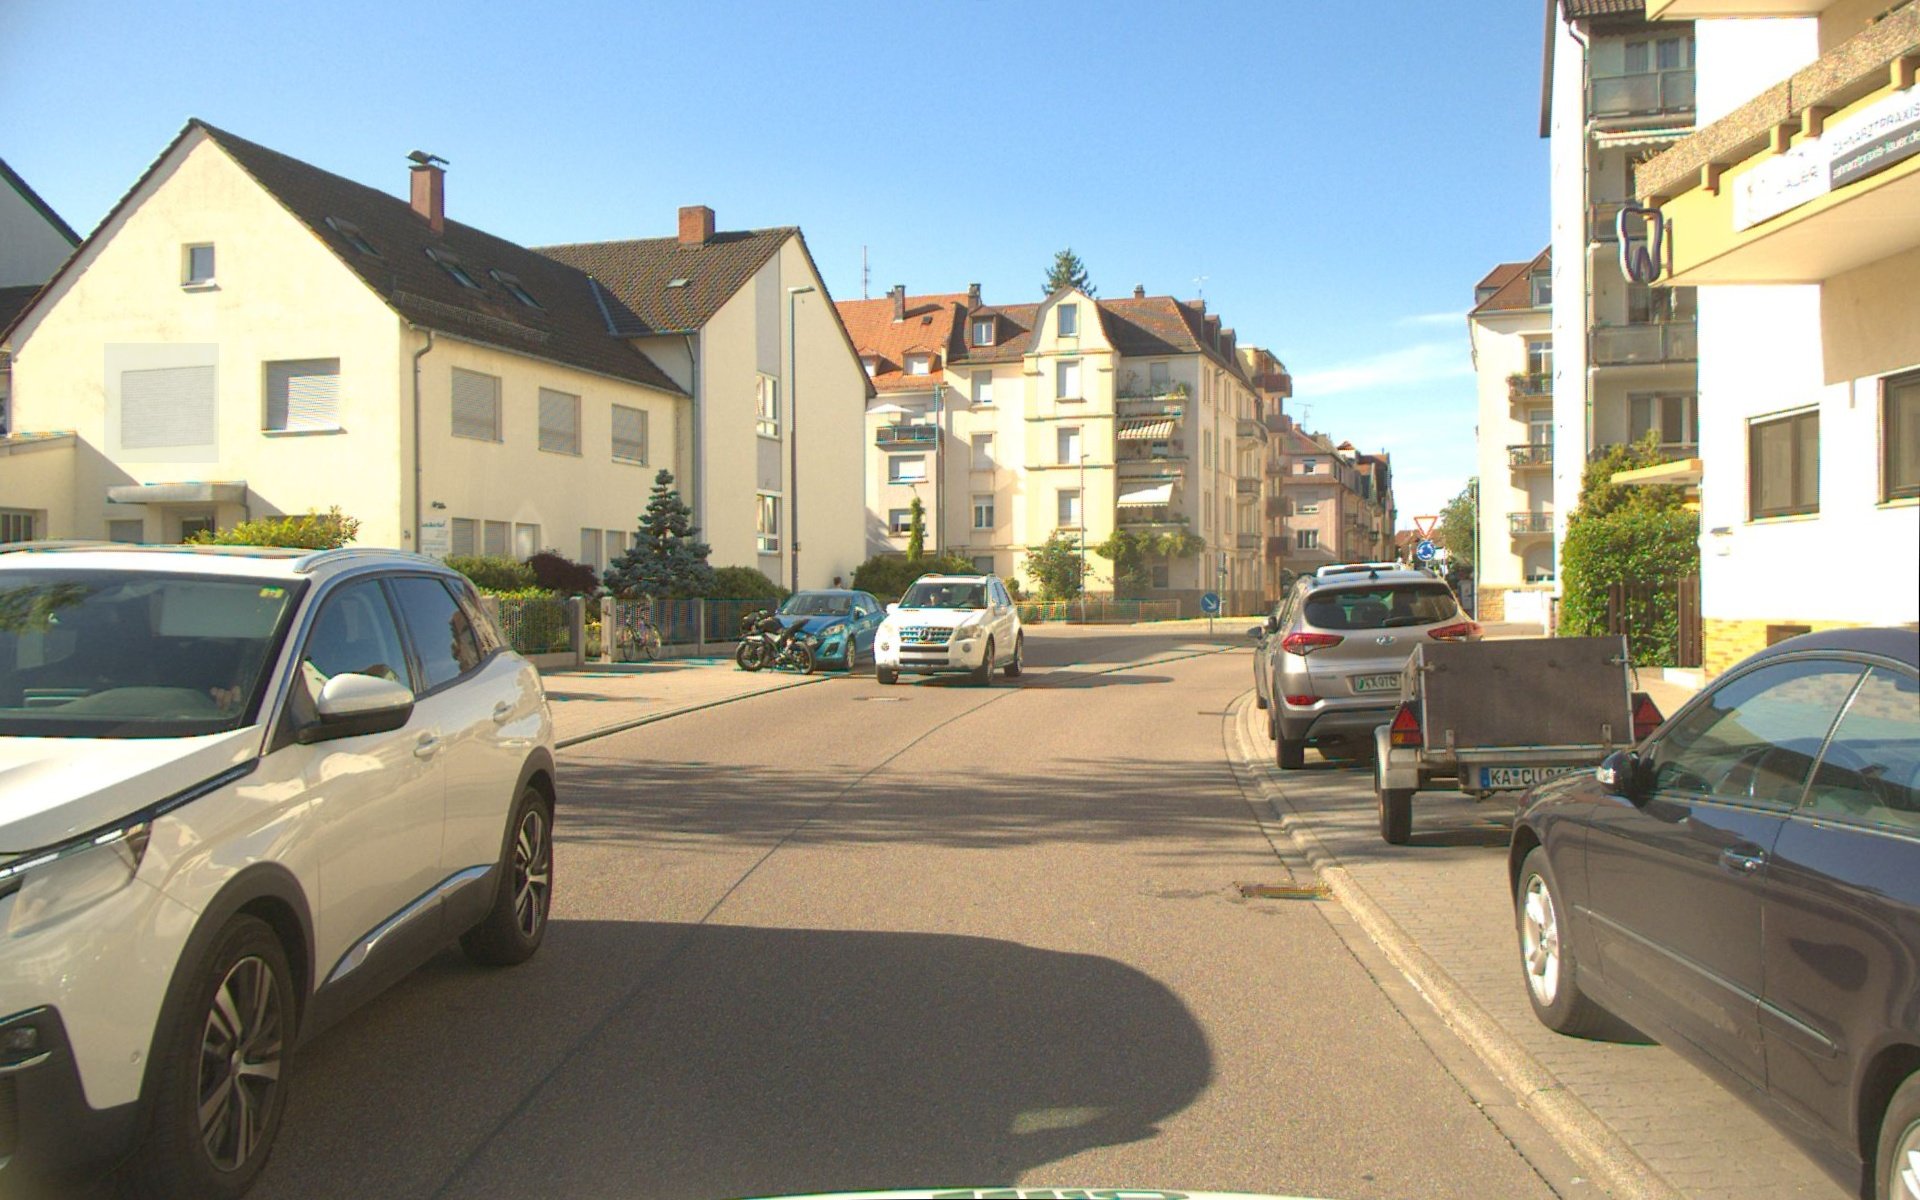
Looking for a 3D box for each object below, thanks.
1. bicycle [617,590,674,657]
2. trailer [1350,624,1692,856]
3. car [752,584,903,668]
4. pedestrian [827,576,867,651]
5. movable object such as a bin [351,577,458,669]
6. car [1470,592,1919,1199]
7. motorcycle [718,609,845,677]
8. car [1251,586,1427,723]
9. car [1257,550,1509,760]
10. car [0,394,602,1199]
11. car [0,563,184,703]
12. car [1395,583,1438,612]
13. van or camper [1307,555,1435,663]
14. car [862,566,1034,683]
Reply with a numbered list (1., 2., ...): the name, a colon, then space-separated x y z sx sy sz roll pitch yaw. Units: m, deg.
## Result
1. bicycle: -6.121 0.478 32.259 0.446 1.272 1.929 -1 -2 10
2. trailer: 3.328 0.768 10.291 1.568 1.199 2.945 -1 -1 10
3. car: -2.479 0.450 32.100 1.759 1.499 4.334 1 1 12
4. pedestrian: -2.667 0.334 39.168 0.668 1.733 0.824 -1 -3 19
5. movable object such as a bin: -9.487 0.412 28.285 1.255 1.516 1.228 -1 -2 14
6. car: 2.821 0.730 4.210 1.929 1.476 5.006 0 -1 5
7. motorcycle: -3.148 0.738 29.162 2.016 1.036 0.947 3 2 24
8. car: 4.547 0.590 20.352 1.681 1.433 4.318 -3 0 8
9. car: 3.817 0.532 15.637 1.778 1.682 4.563 -1 -2 8
10. car: -2.568 0.593 5.147 1.879 1.755 4.336 0 -2 1
11. car: -11.359 0.427 20.055 1.763 1.583 3.188 -1 -2 21
12. car: 29.467 -0.164 106.670 2.381 1.843 4.725 -1 0 19
13. van or camper: 8.473 0.156 33.811 1.978 1.981 4.704 -3 0 20
14. car: -0.100 0.378 28.307 1.947 1.816 4.523 -1 0 12
